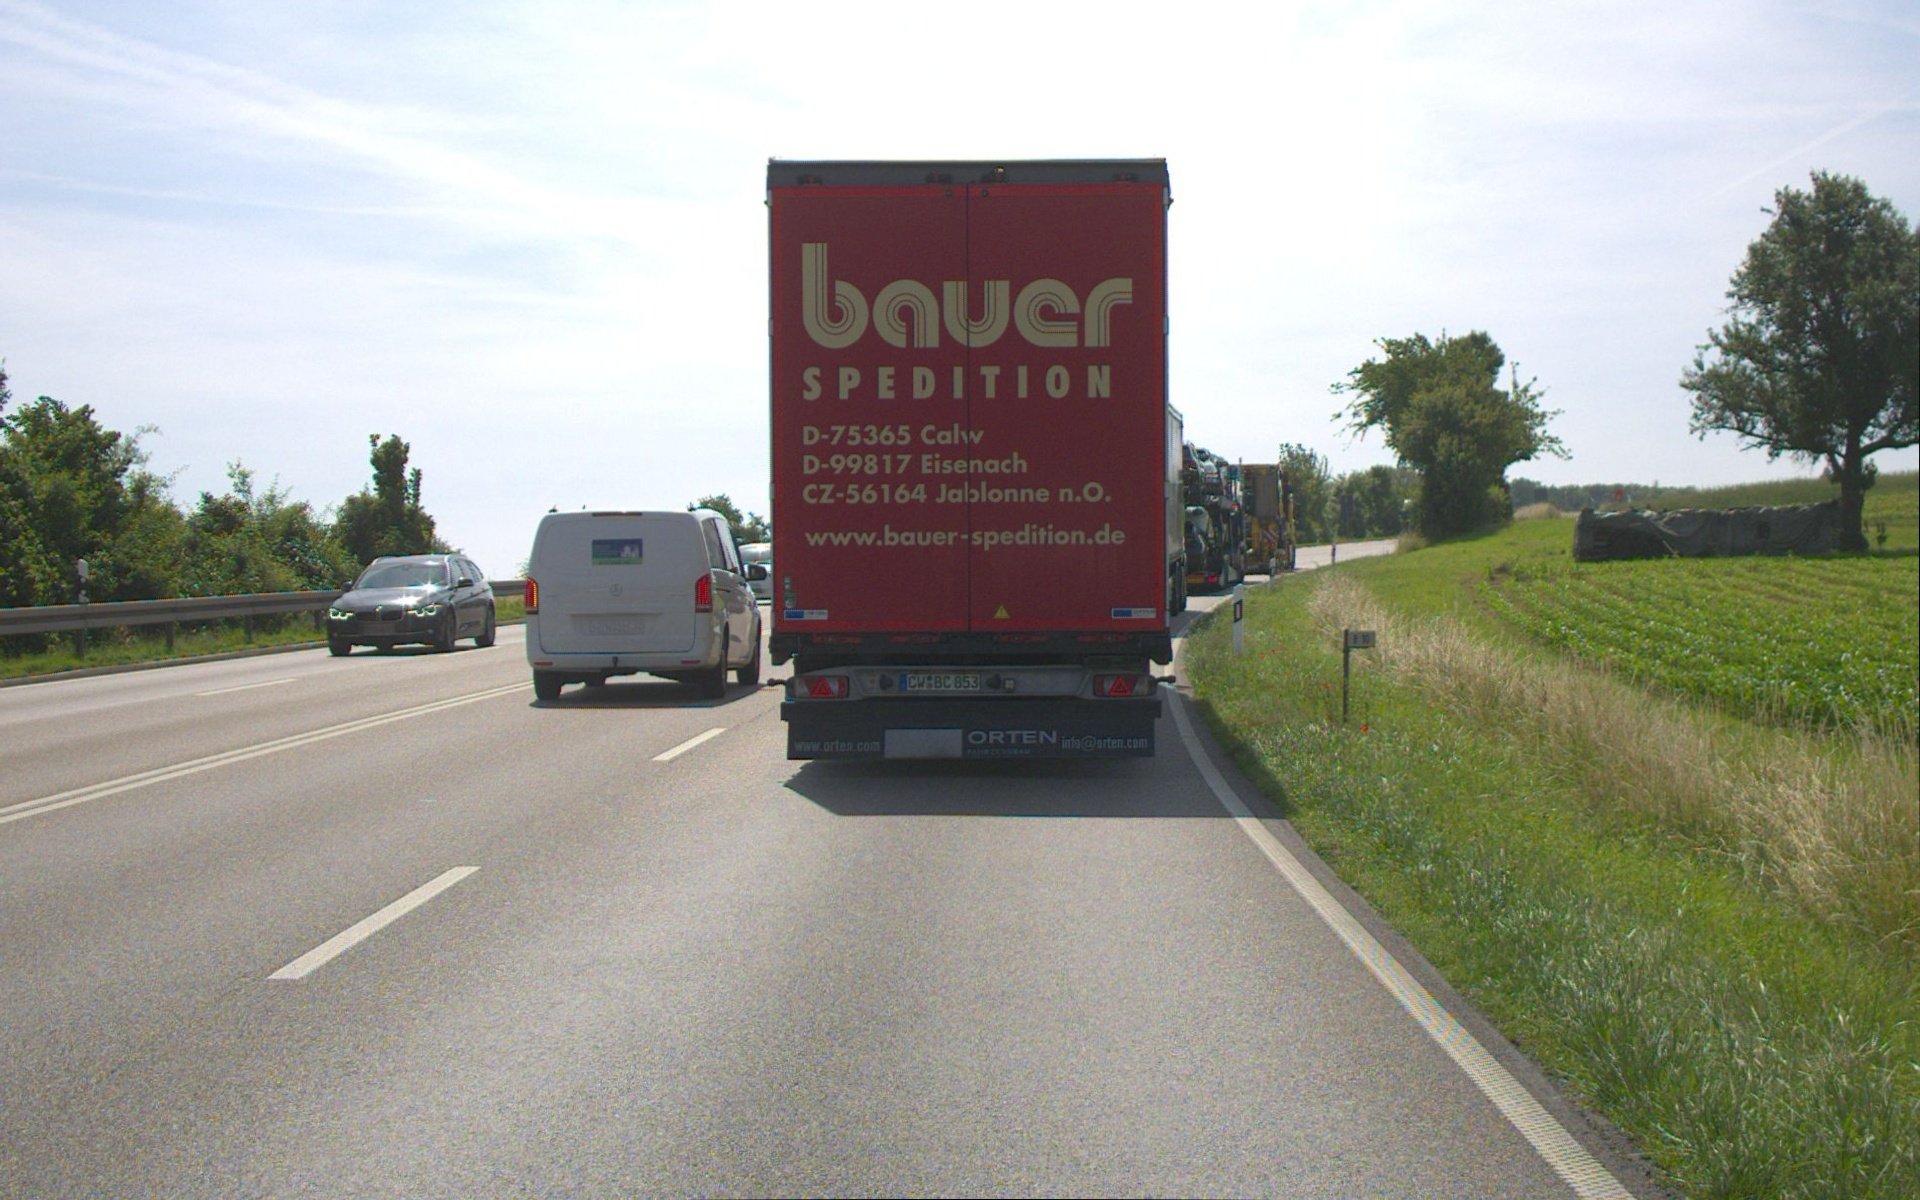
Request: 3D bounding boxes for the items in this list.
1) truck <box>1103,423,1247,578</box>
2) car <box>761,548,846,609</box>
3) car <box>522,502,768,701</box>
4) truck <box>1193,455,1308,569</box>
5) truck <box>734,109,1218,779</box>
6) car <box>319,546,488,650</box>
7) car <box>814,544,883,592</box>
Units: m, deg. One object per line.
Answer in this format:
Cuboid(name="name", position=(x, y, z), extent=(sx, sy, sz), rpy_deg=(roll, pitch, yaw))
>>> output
Cuboid(name="truck", position=(6.113, -2.696, 95.310), extent=(3.048, 3.897, 15.612), rpy_deg=(-1, 1, 7))
Cuboid(name="car", position=(-3.886, -0.548, 85.924), extent=(1.658, 1.452, 3.734), rpy_deg=(-1, 1, 4))
Cuboid(name="car", position=(-3.143, -0.030, 35.355), extent=(1.905, 1.878, 5.432), rpy_deg=(0, 1, 1))
Cuboid(name="truck", position=(11.043, -3.255, 128.870), extent=(3.048, 3.897, 18.392), rpy_deg=(-1, 1, 9))
Cuboid(name="truck", position=(0.199, -1.121, 29.766), extent=(3.007, 4.165, 16.714), rpy_deg=(0, 1, 1))
Cuboid(name="car", position=(-8.279, -0.068, 51.464), extent=(1.718, 1.456, 4.215), rpy_deg=(-1, 1, 1))
Cuboid(name="car", position=(-3.515, -1.021, 109.279), extent=(1.836, 1.450, 4.326), rpy_deg=(-2, 1, 3))
